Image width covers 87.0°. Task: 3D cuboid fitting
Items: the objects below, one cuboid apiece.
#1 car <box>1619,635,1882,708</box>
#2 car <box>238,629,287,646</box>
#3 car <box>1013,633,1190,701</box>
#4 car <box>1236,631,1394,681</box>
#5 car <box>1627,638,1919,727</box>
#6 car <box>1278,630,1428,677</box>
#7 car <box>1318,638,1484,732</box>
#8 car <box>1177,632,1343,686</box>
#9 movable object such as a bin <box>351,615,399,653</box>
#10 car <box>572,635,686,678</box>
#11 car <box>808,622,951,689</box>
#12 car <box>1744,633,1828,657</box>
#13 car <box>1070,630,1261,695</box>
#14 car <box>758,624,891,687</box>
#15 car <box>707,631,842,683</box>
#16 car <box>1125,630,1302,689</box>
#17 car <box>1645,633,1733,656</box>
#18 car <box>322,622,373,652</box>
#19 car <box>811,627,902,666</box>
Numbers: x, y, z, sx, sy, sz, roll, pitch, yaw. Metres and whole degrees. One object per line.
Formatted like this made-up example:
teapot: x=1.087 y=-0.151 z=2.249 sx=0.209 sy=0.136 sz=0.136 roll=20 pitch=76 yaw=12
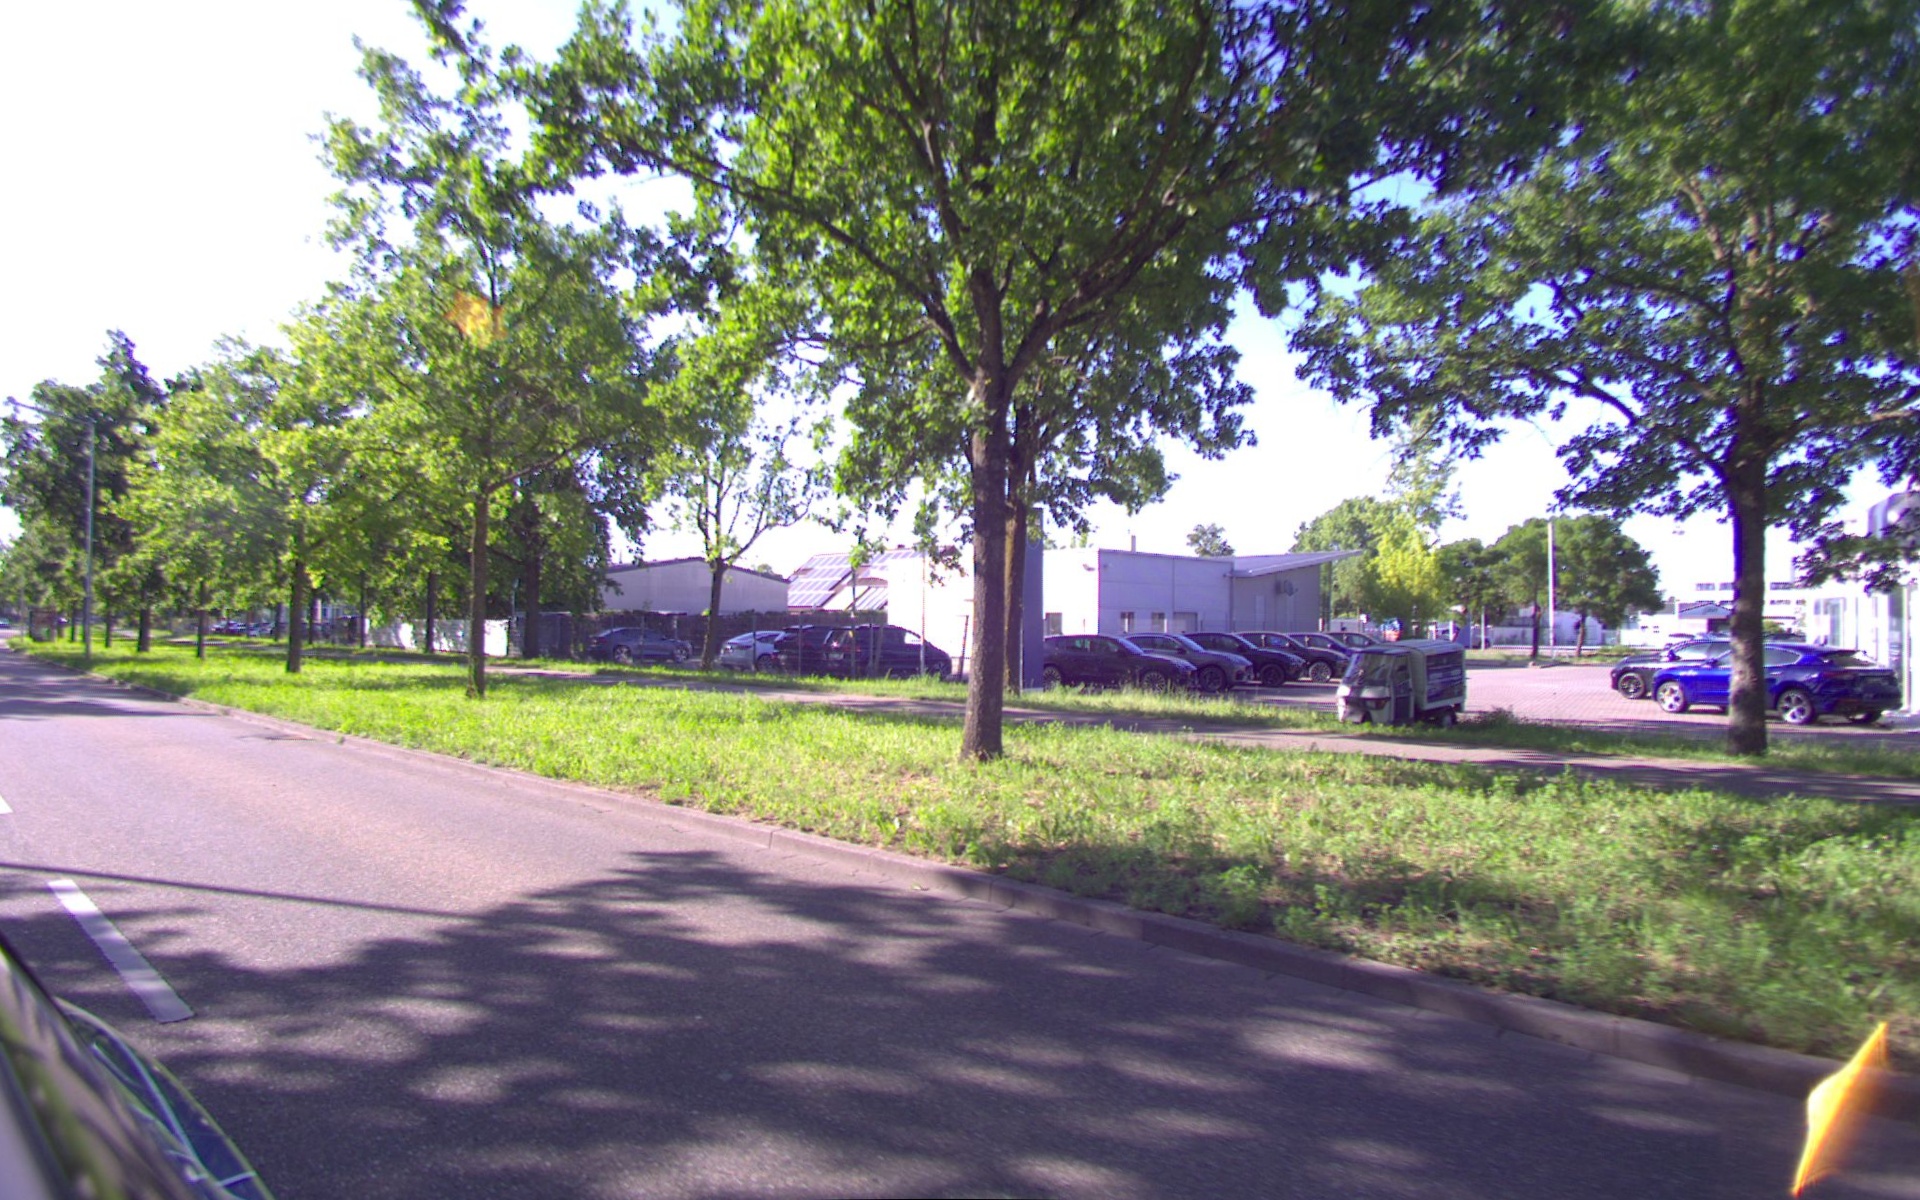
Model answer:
car: x=20.284 y=1.776 z=26.312 sx=1.965 sy=1.673 sz=5.026 roll=0 pitch=-2 yaw=-21
car: x=-70.877 y=3.795 z=102.926 sx=3.826 sy=1.513 sz=2.007 roll=-1 pitch=0 yaw=-25
car: x=3.901 y=1.781 z=28.022 sx=4.476 sy=1.688 sz=1.982 roll=-1 pitch=0 yaw=26
car: x=13.060 y=2.011 z=37.350 sx=5.238 sy=1.673 sz=1.980 roll=-1 pitch=0 yaw=30
car: x=17.938 y=1.722 z=22.555 sx=1.968 sy=1.673 sz=5.270 roll=-1 pitch=-2 yaw=-10
car: x=15.316 y=2.026 z=39.563 sx=5.238 sy=1.673 sz=1.980 roll=-1 pitch=0 yaw=30
car: x=7.607 y=1.402 z=17.454 sx=2.531 sy=1.481 sz=1.430 roll=1 pitch=-2 yaw=-32
car: x=10.412 y=1.985 z=35.196 sx=5.238 sy=1.673 sz=1.980 roll=-1 pitch=0 yaw=30
movable object such as a bin: x=-41.724 y=2.390 z=72.123 sx=1.970 sy=2.535 sz=4.239 roll=-1 pitch=0 yaw=-44
car: x=-13.816 y=2.325 z=42.332 sx=2.199 sy=1.530 sz=3.942 roll=-1 pitch=0 yaw=44
car: x=-2.372 y=1.603 z=30.489 sx=2.001 sy=1.755 sz=3.941 roll=-1 pitch=0 yaw=45
car: x=59.798 y=3.230 z=73.346 sx=1.970 sy=1.673 sz=4.523 roll=0 pitch=-1 yaw=-44
car: x=6.096 y=1.785 z=30.166 sx=5.234 sy=1.730 sz=1.981 roll=-1 pitch=0 yaw=28
car: x=-4.325 y=1.726 z=32.648 sx=1.862 sy=1.759 sz=3.942 roll=-1 pitch=0 yaw=44
car: x=-6.310 y=1.890 z=34.714 sx=1.862 sy=1.530 sz=4.262 roll=-1 pitch=0 yaw=44
car: x=8.185 y=1.868 z=32.824 sx=5.238 sy=1.702 sz=1.980 roll=-1 pitch=0 yaw=30
car: x=58.388 y=3.542 z=81.092 sx=1.970 sy=1.673 sz=5.435 roll=0 pitch=-1 yaw=-44
car: x=-45.873 y=2.725 z=75.773 sx=1.970 sy=2.191 sz=5.674 roll=1 pitch=-2 yaw=-45
car: x=-4.679 y=2.079 z=46.062 sx=1.752 sy=1.530 sz=3.942 roll=-1 pitch=0 yaw=44
